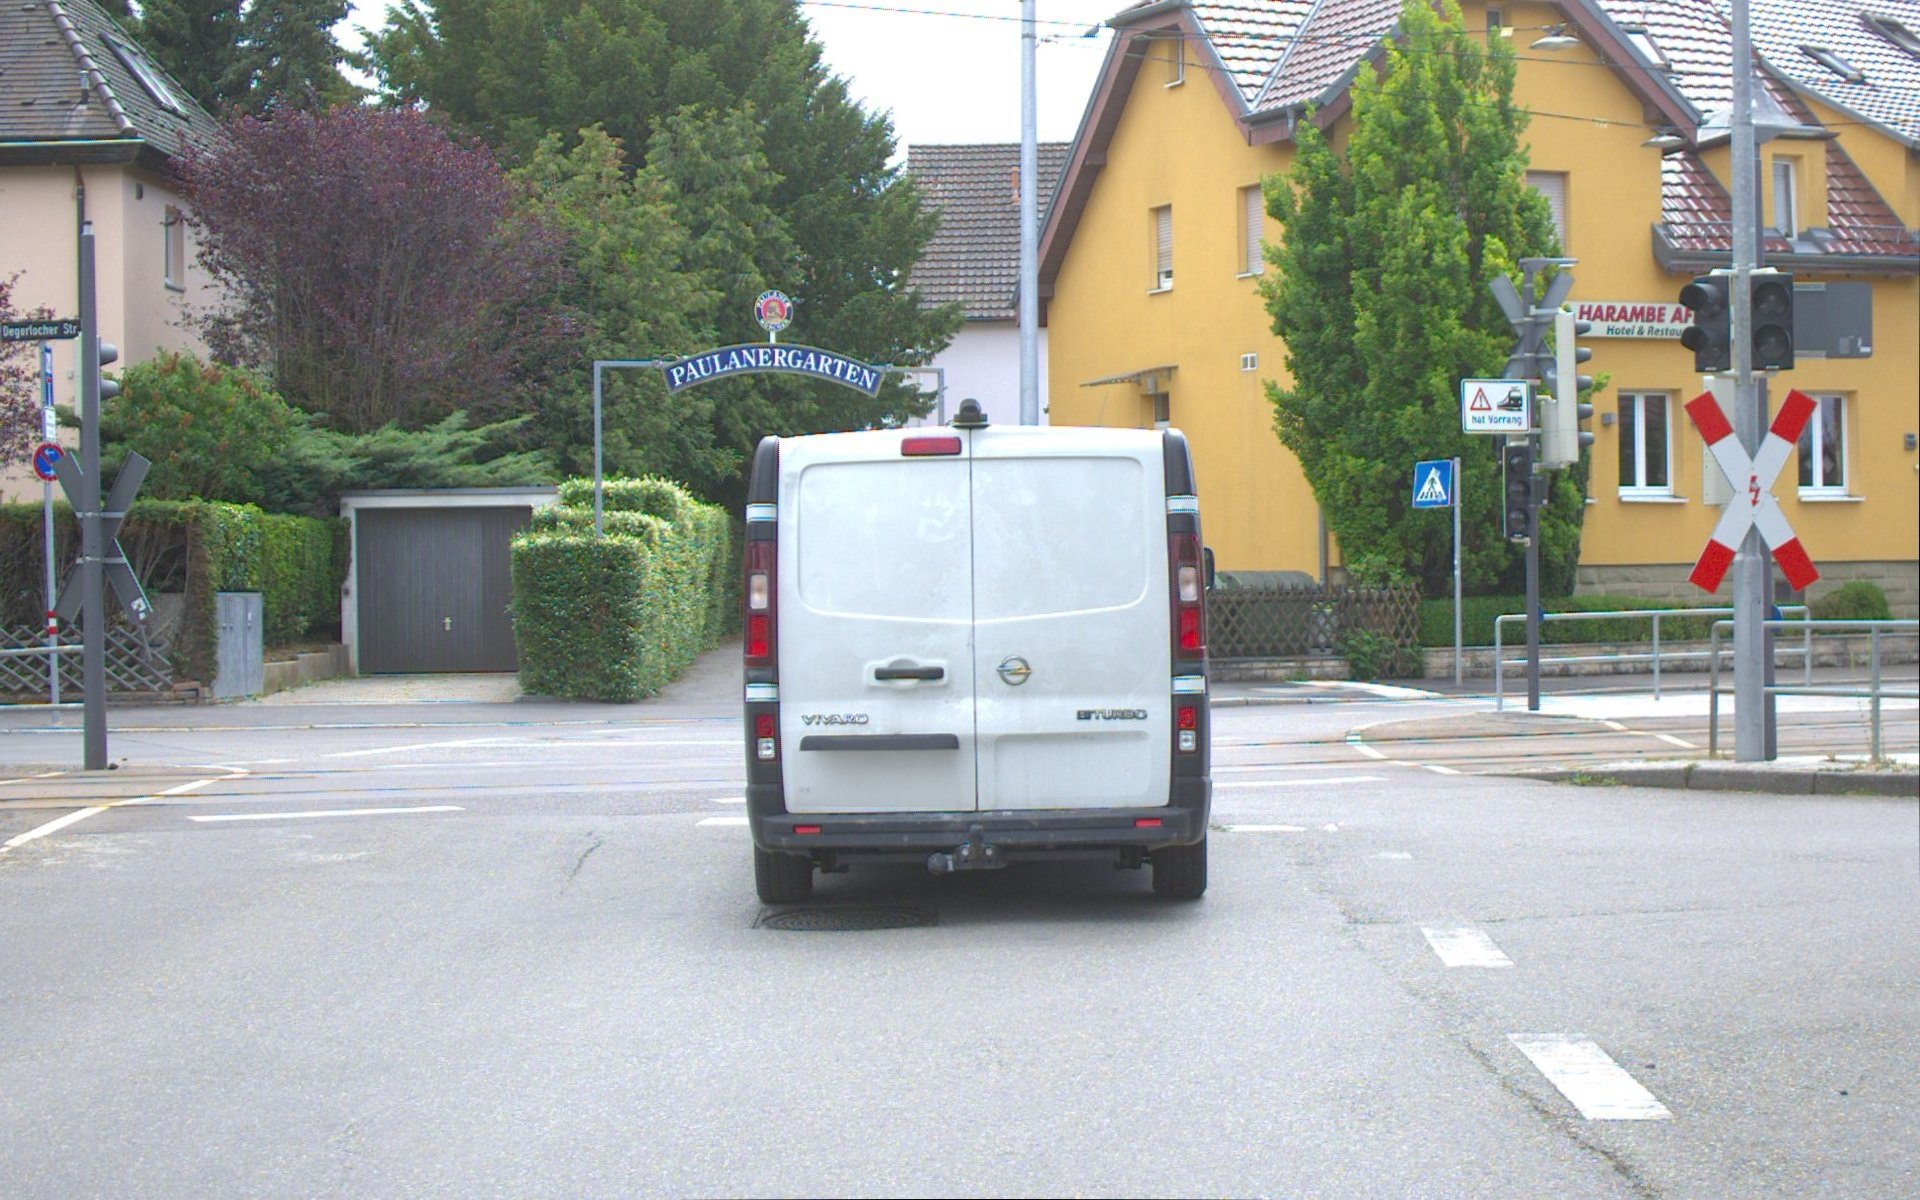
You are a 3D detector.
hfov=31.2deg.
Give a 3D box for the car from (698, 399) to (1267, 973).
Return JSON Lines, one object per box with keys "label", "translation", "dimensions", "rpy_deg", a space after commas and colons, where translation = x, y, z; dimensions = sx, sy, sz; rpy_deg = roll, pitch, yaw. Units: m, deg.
{"label": "car", "translation": [-0.033, 0.272, 15.503], "dimensions": [2.116, 2.127, 5.441], "rpy_deg": [0, 1, -2]}
